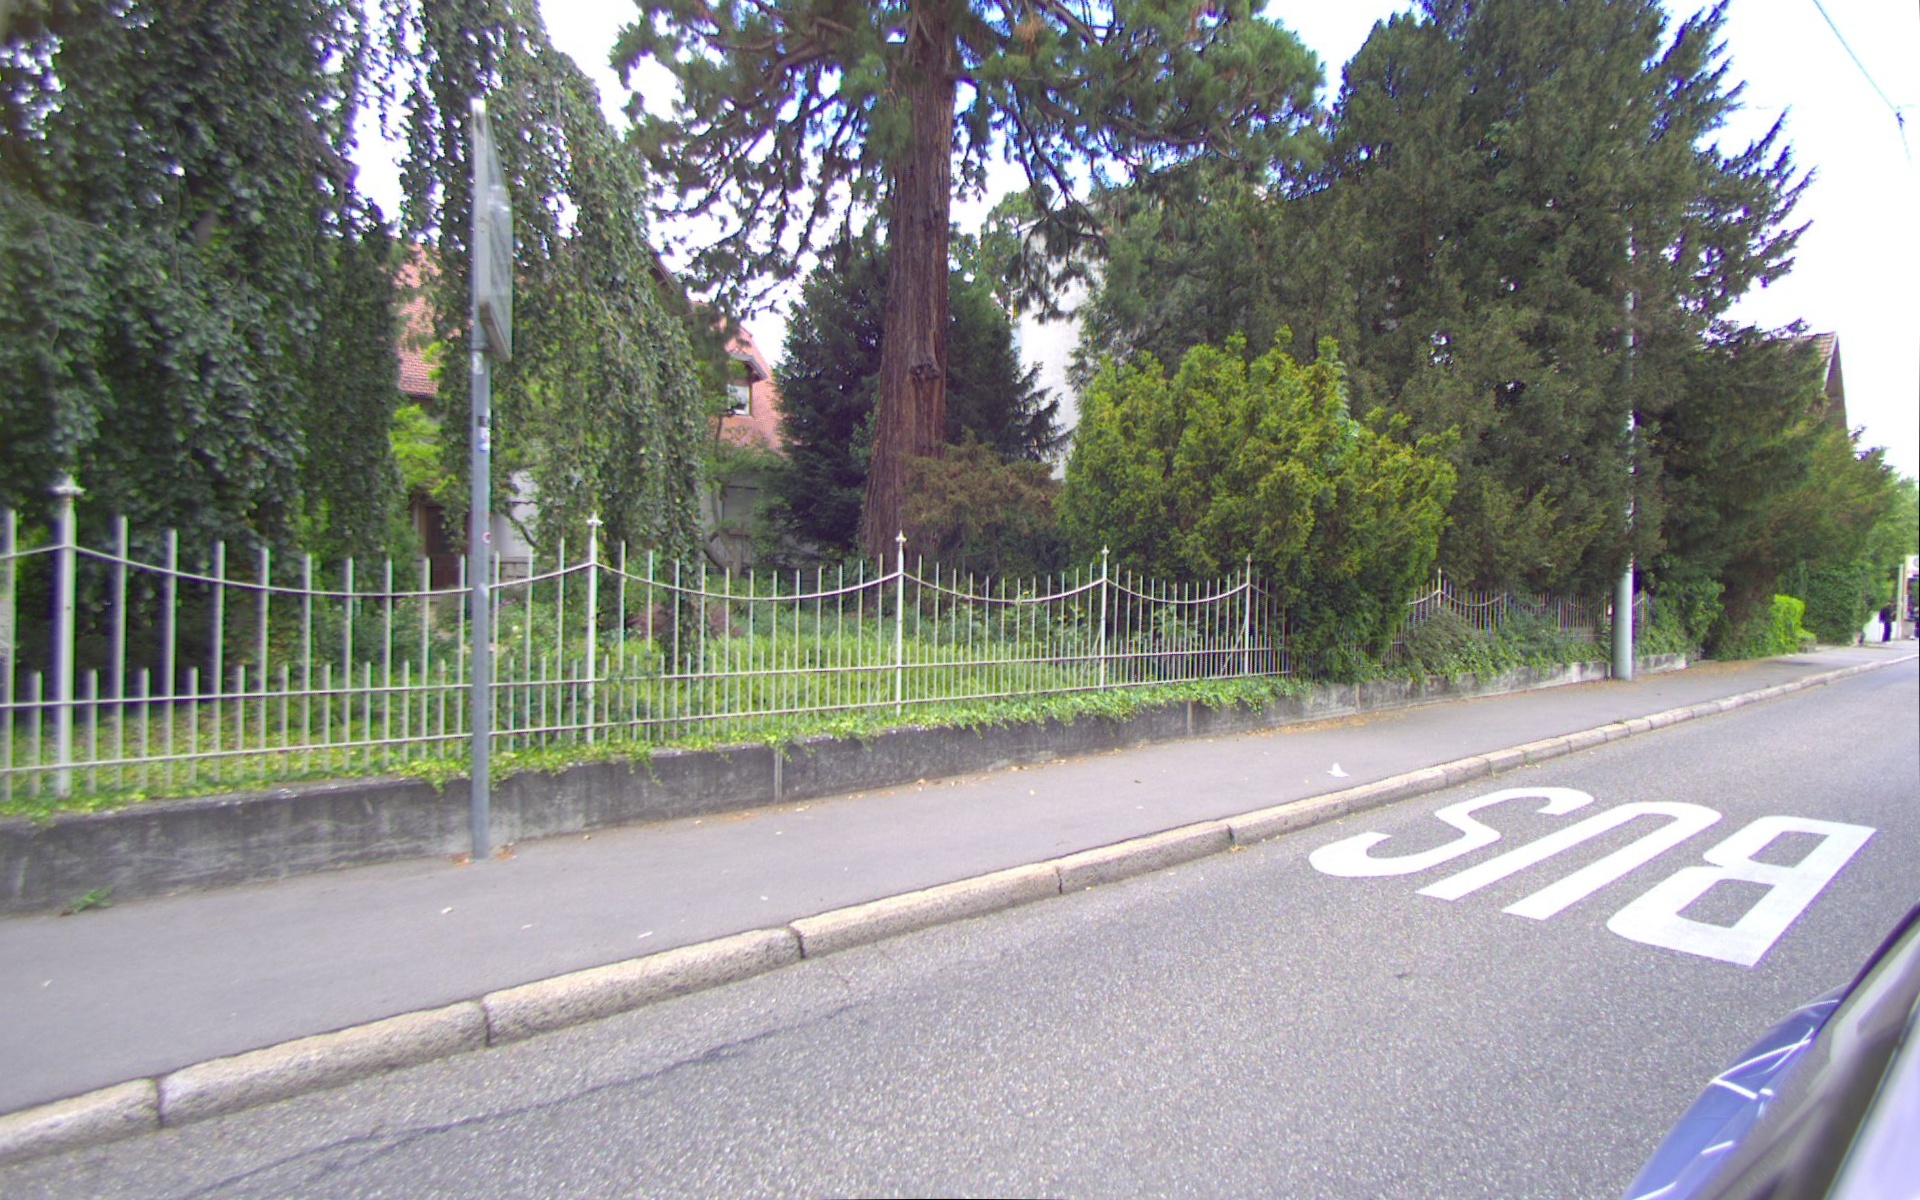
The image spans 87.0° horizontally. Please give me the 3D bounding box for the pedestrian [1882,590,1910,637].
[{"bbox_3d":[35.280,0.504,38.149,0.657,1.789,0.491,0,0,-9],"label":"pedestrian"}]

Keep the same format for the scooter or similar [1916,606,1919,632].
[{"bbox_3d":[41.252,0.849,42.890,0.842,1.110,0.479,4,3,2],"label":"scooter or similar"}]

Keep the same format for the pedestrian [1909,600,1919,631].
[{"bbox_3d":[40.406,0.688,42.364,0.914,1.266,0.777,6,4,44],"label":"pedestrian"}]
